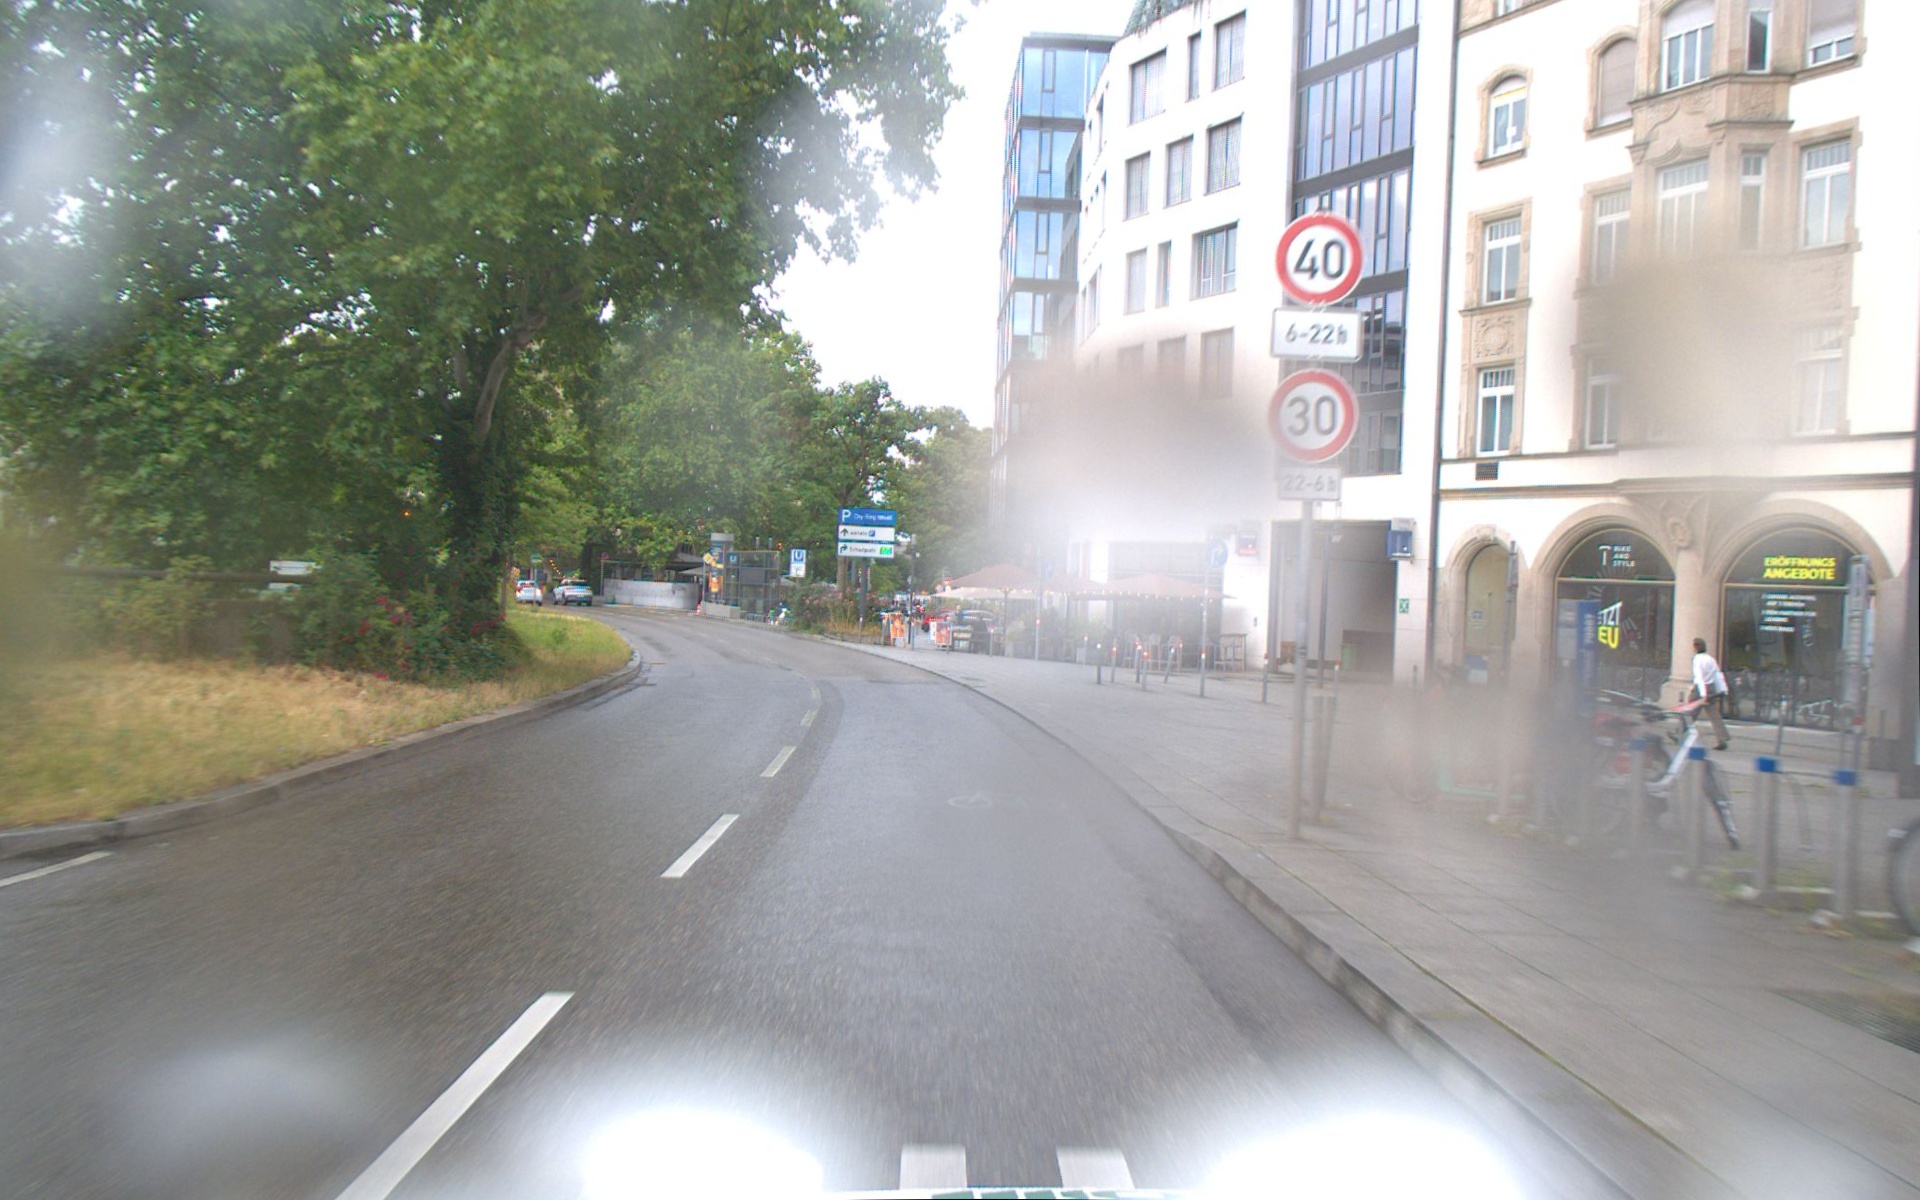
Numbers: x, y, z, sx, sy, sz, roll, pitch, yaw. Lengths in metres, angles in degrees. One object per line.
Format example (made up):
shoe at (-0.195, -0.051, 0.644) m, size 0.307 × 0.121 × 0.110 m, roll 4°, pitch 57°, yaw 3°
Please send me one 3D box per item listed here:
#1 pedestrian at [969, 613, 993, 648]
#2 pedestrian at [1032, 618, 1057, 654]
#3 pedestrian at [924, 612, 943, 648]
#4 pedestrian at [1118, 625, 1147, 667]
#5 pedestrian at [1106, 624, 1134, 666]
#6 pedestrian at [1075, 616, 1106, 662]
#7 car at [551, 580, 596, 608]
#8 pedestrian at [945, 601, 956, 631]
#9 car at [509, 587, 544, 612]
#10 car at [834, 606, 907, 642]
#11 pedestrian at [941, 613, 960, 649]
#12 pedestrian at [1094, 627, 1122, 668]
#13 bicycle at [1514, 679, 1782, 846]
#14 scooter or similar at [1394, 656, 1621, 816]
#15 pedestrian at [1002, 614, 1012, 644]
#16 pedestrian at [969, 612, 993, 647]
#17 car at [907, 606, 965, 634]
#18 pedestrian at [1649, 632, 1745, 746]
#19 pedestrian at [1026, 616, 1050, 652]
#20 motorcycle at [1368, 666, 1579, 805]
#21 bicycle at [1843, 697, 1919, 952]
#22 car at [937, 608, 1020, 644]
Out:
pedestrian at (0.829, 1.210, 65.805) m, size 0.801 × 1.349 × 0.635 m, roll 5°, pitch -1°, yaw -6°
pedestrian at (3.368, 1.427, 65.911) m, size 0.801 × 1.349 × 0.635 m, roll 5°, pitch -1°, yaw -6°
pedestrian at (-1.010, 1.155, 63.996) m, size 0.594 × 1.349 × 0.567 m, roll 4°, pitch -1°, yaw -5°
pedestrian at (5.745, 1.528, 55.154) m, size 0.619 × 1.349 × 0.631 m, roll 5°, pitch -1°, yaw -26°
pedestrian at (5.425, 1.527, 55.954) m, size 0.619 × 1.349 × 0.631 m, roll 5°, pitch -1°, yaw -26°
pedestrian at (4.007, 1.185, 50.761) m, size 0.759 × 1.349 × 0.635 m, roll 5°, pitch -1°, yaw -6°
car at (-24.823, -0.398, 106.098) m, size 1.922 × 1.695 × 4.312 m, roll 3°, pitch -1°, yaw -24°
pedestrian at (-0.626, 1.087, 109.740) m, size 0.611 × 1.967 × 0.788 m, roll 3°, pitch -1°, yaw 5°
car at (-26.824, -0.038, 102.288) m, size 1.570 × 1.517 × 3.478 m, roll 0°, pitch 1°, yaw -24°
car at (-5.141, 1.358, 94.762) m, size 4.019 × 1.649 × 1.860 m, roll 6°, pitch -2°, yaw -6°
pedestrian at (-0.375, 1.190, 64.094) m, size 0.594 × 1.349 × 0.567 m, roll 4°, pitch -1°, yaw -5°
pedestrian at (5.119, 1.634, 57.269) m, size 0.619 × 1.349 × 0.631 m, roll 5°, pitch -1°, yaw -26°
bicycle at (5.249, 1.231, 12.660) m, size 1.760 × 1.127 × 0.669 m, roll 4°, pitch -2°, yaw -7°
scooter or similar at (4.785, 1.179, 14.492) m, size 1.758 × 1.265 × 0.595 m, roll 4°, pitch -2°, yaw -7°
pedestrian at (2.272, 1.419, 80.023) m, size 0.426 × 1.428 × 0.478 m, roll 2°, pitch -1°, yaw -3°
pedestrian at (0.846, 1.172, 66.672) m, size 0.801 × 1.349 × 0.635 m, roll 5°, pitch -1°, yaw -6°
car at (-1.516, 1.229, 102.670) m, size 1.602 × 1.440 × 3.471 m, roll 5°, pitch -1°, yaw -45°
pedestrian at (12.820, 1.534, 28.809) m, size 0.857 × 1.869 × 1.244 m, roll 4°, pitch -2°, yaw -15°
pedestrian at (3.141, 1.370, 66.747) m, size 0.801 × 1.349 × 0.635 m, roll 5°, pitch -1°, yaw -6°
motorcycle at (4.804, 1.263, 15.518) m, size 1.758 × 1.159 × 0.595 m, roll 4°, pitch -2°, yaw -7°
bicycle at (5.200, 1.084, 7.773) m, size 1.760 × 1.127 × 0.669 m, roll 4°, pitch -2°, yaw -7°
car at (1.040, 1.492, 94.732) m, size 4.640 × 1.720 × 2.004 m, roll 3°, pitch 0°, yaw -2°
